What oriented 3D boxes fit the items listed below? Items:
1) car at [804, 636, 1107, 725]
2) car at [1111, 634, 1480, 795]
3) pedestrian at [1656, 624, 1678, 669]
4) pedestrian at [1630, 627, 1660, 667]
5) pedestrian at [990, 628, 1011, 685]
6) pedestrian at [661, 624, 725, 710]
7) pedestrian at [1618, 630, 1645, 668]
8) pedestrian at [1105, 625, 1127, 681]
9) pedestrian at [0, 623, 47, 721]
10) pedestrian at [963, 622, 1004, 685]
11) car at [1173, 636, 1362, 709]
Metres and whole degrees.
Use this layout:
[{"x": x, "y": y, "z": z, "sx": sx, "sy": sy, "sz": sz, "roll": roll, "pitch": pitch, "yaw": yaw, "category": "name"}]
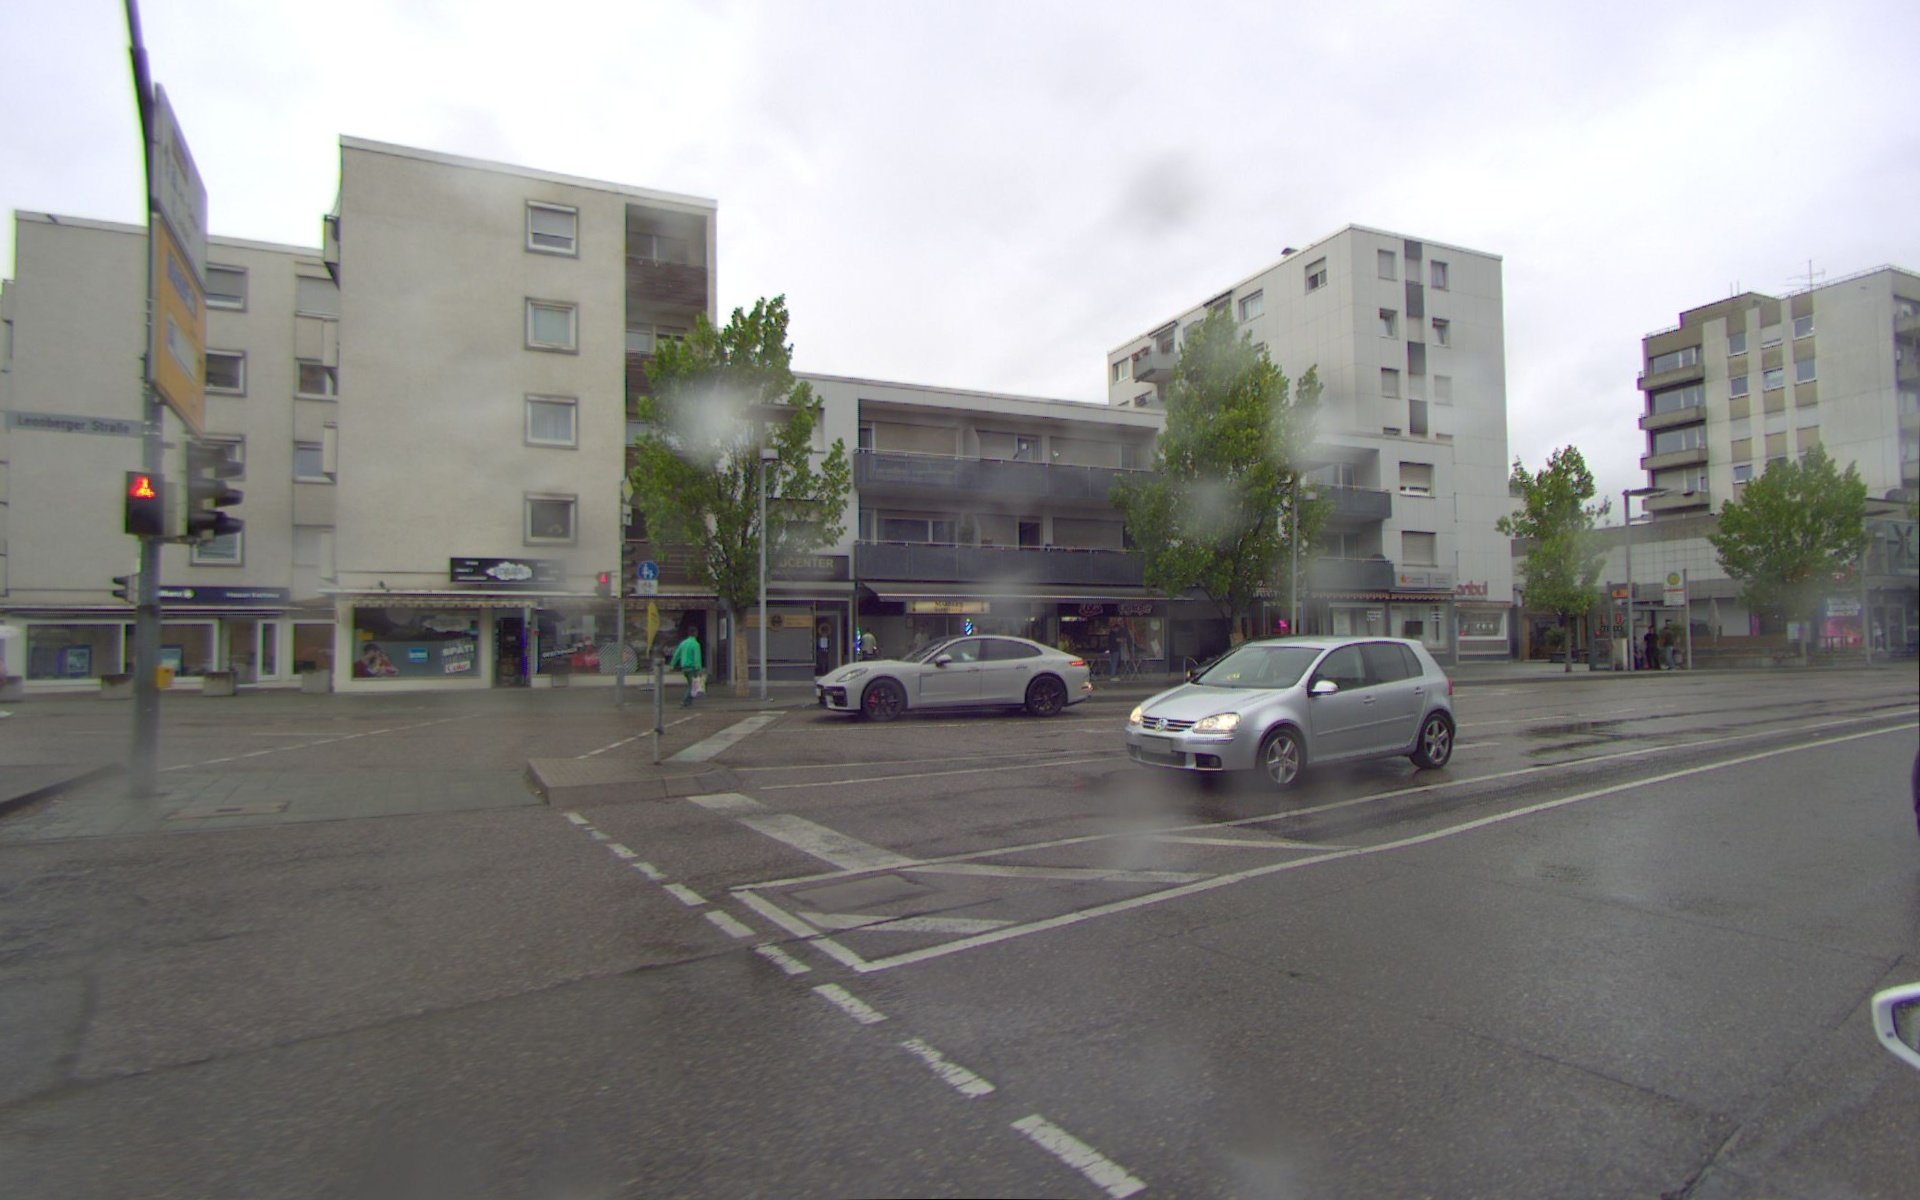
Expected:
[{"x": -0.124, "y": 1.361, "z": 17.998, "sx": 5.062, "sy": 1.432, "sz": 2.116, "roll": 1, "pitch": -2, "yaw": -17, "category": "car"}, {"x": 3.745, "y": 1.134, "z": 11.056, "sx": 3.948, "sy": 1.460, "sz": 1.732, "roll": 1, "pitch": -3, "yaw": -32, "category": "car"}, {"x": 27.966, "y": 1.845, "z": 39.740, "sx": 0.531, "sy": 1.741, "sz": 0.485, "roll": 0, "pitch": -2, "yaw": -30, "category": "pedestrian"}, {"x": 27.374, "y": 1.871, "z": 40.144, "sx": 0.629, "sy": 1.591, "sz": 0.790, "roll": 0, "pitch": -2, "yaw": -33, "category": "pedestrian"}, {"x": 1.285, "y": 1.780, "z": 31.673, "sx": 0.494, "sy": 1.746, "sz": 0.446, "roll": 1, "pitch": -3, "yaw": -29, "category": "pedestrian"}, {"x": -5.264, "y": 1.317, "z": 19.856, "sx": 0.933, "sy": 1.644, "sz": 0.809, "roll": -1, "pitch": -3, "yaw": 17, "category": "pedestrian"}, {"x": 26.591, "y": 1.940, "z": 39.771, "sx": 0.629, "sy": 1.489, "sz": 0.630, "roll": 0, "pitch": -2, "yaw": -33, "category": "pedestrian"}, {"x": 5.167, "y": 1.761, "z": 33.338, "sx": 0.484, "sy": 1.816, "sz": 0.565, "roll": 1, "pitch": -3, "yaw": -20, "category": "pedestrian"}, {"x": -16.897, "y": 1.269, "z": 17.818, "sx": 0.904, "sy": 1.699, "sz": 0.933, "roll": -3, "pitch": -4, "yaw": 44, "category": "pedestrian"}, {"x": 0.688, "y": 1.582, "z": 29.662, "sx": 0.913, "sy": 1.834, "sz": 0.869, "roll": 1, "pitch": -3, "yaw": -26, "category": "pedestrian"}, {"x": 6.259, "y": 1.426, "z": 20.360, "sx": 3.728, "sy": 1.314, "sz": 1.430, "roll": 0, "pitch": -2, "yaw": -28, "category": "car"}]
